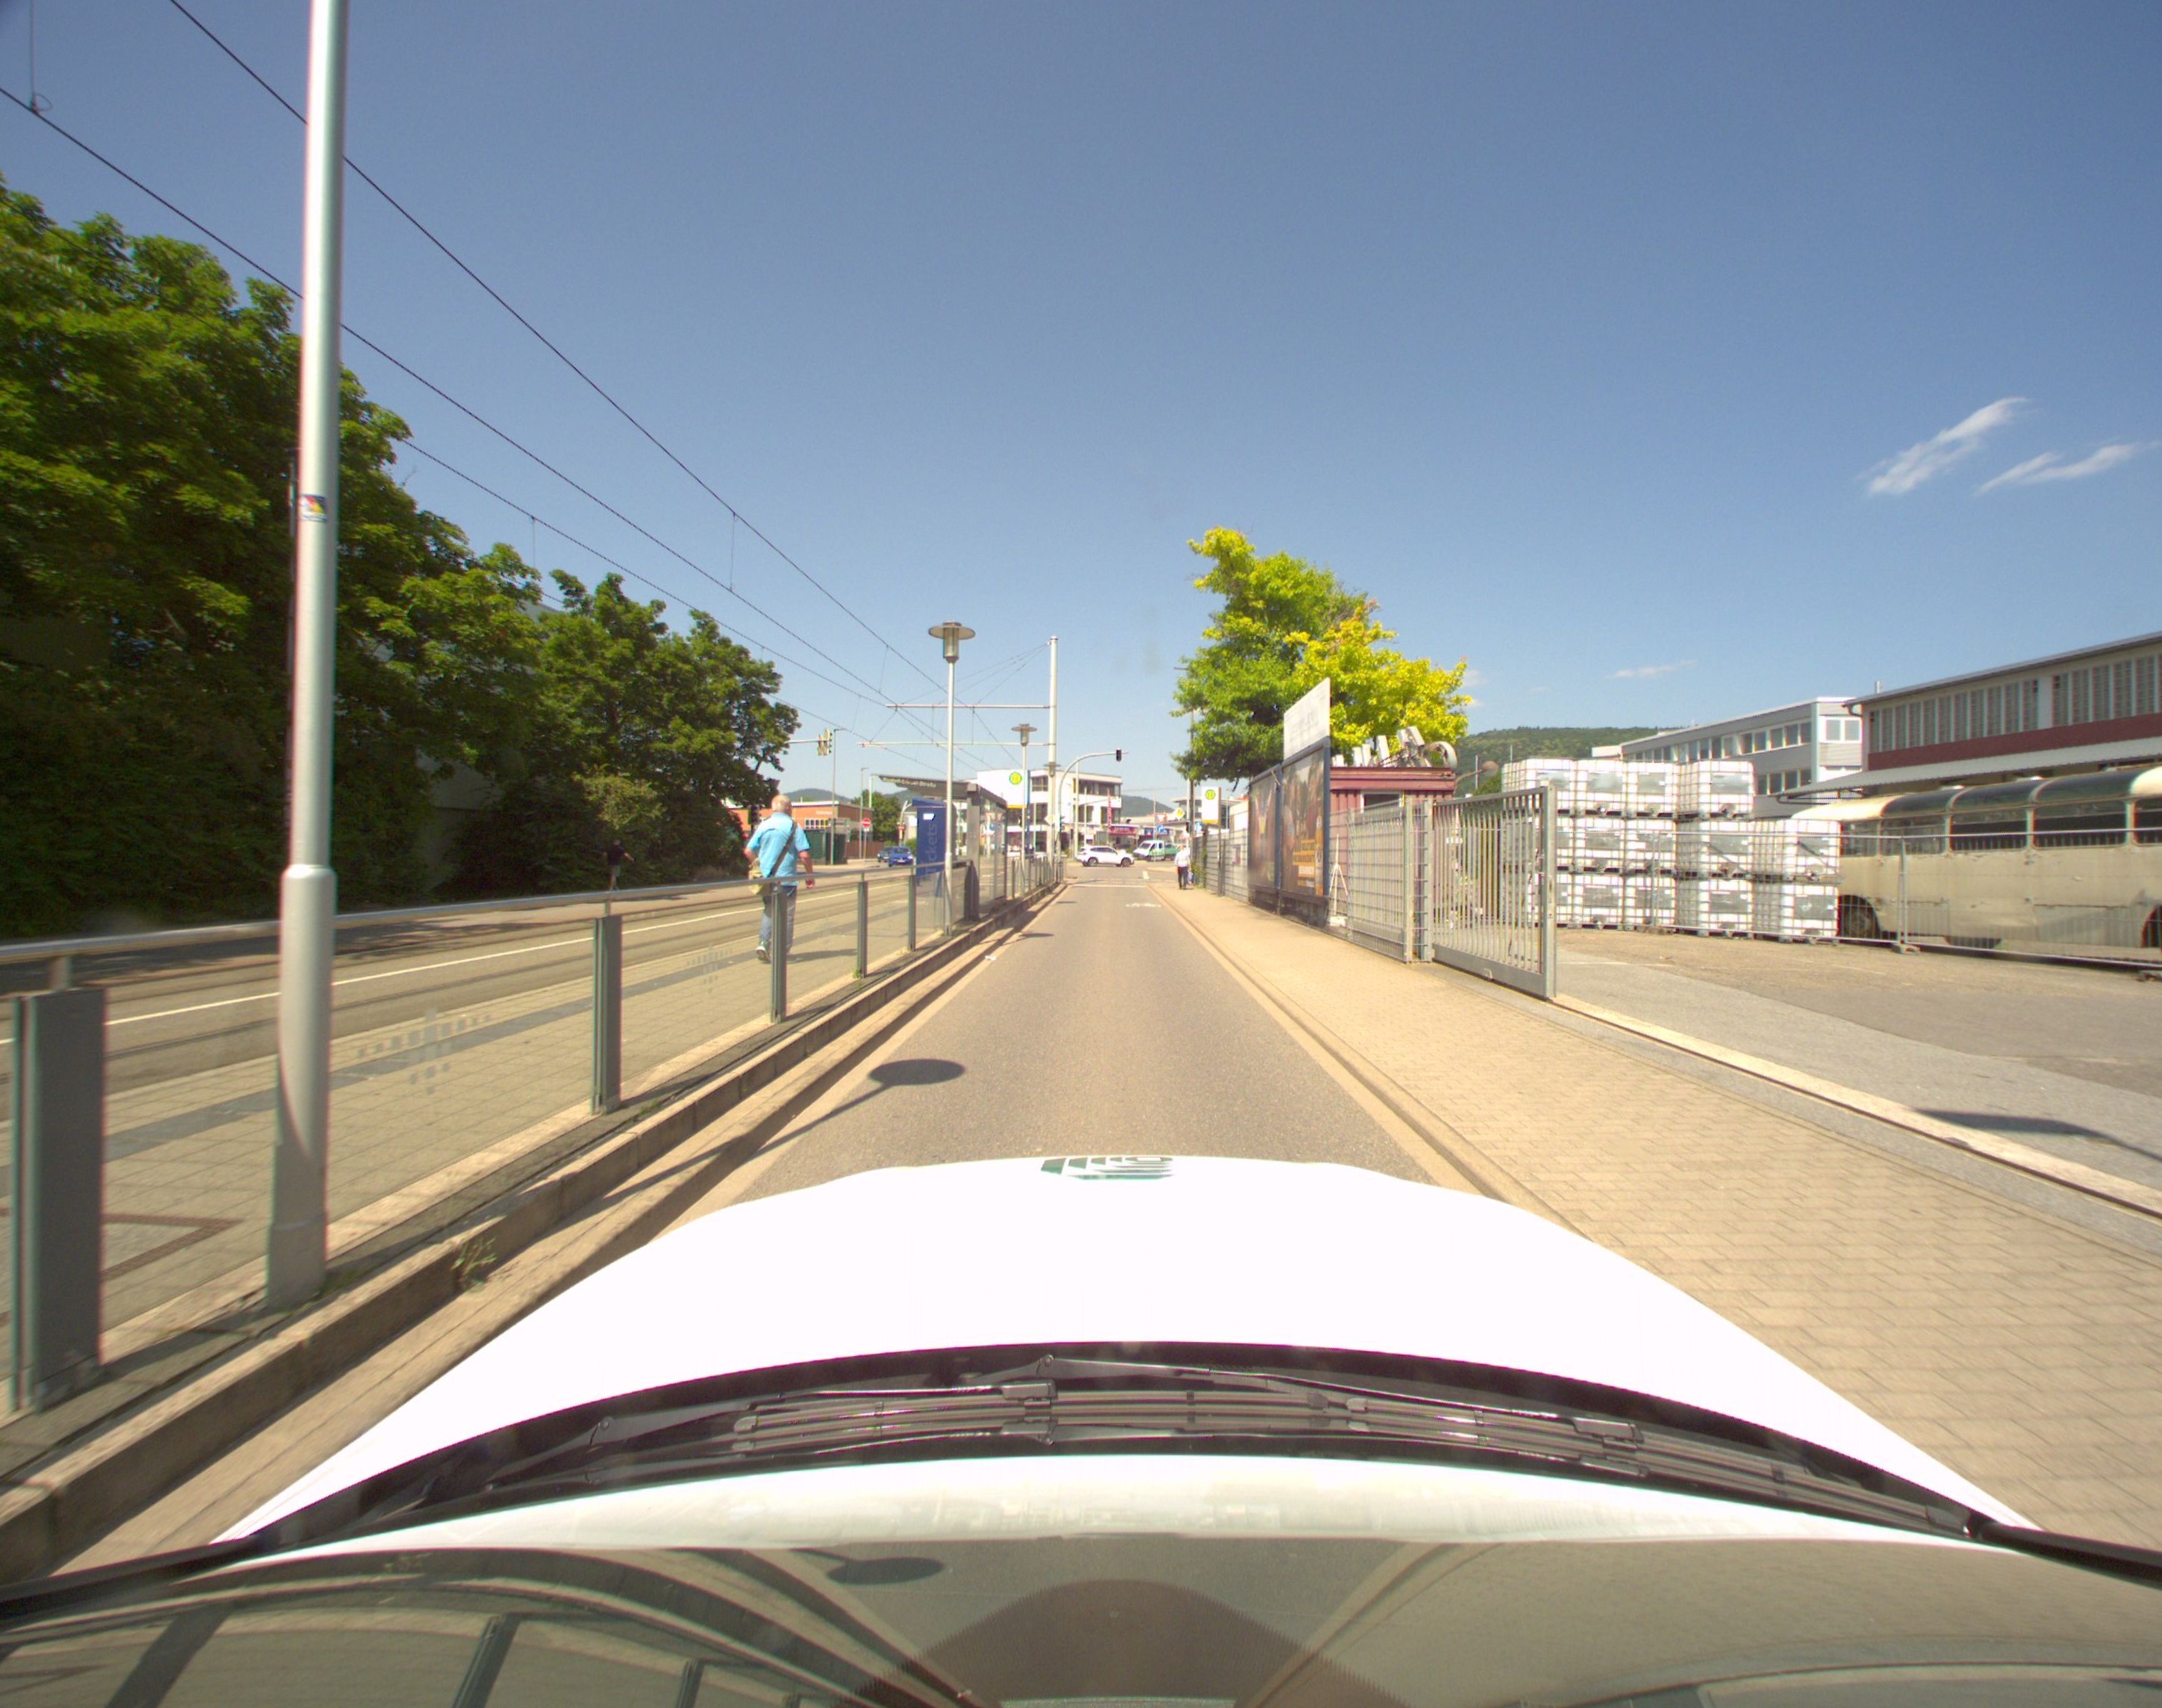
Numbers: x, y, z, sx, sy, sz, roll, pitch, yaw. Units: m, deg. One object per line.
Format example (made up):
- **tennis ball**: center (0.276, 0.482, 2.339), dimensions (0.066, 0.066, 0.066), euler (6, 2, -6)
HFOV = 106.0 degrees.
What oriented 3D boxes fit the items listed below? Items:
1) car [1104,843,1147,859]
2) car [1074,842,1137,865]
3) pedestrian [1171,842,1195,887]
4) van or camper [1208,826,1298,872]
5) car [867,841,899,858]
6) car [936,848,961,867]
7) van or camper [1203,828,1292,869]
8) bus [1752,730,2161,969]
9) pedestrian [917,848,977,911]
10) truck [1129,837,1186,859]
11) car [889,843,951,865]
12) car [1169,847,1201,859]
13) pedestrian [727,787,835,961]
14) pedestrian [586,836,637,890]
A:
- **car**: center (5.480, -0.356, 99.952), dimensions (5.308, 1.965, 1.943), euler (0, 0, -41)
- **car**: center (1.878, -0.006, 63.368), dimensions (4.555, 1.733, 1.991), euler (0, 0, -14)
- **pedestrian**: center (3.856, 0.400, 30.966), dimensions (0.810, 1.699, 0.887), euler (0, 0, 0)
- **van or camper**: center (11.150, -0.342, 53.137), dimensions (5.478, 2.813, 2.052), euler (1, 2, 6)
- **car**: center (-17.769, -0.402, 72.779), dimensions (1.916, 1.442, 4.557), euler (0, 1, -25)
- **car**: center (-14.354, 0.416, 88.430), dimensions (2.157, 2.014, 5.012), euler (1, -1, -3)
- **van or camper**: center (11.362, -0.411, 55.988), dimensions (5.783, 2.773, 2.094), euler (0, 1, 4)
- **bus**: center (15.705, 0.007, 12.651), dimensions (2.555, 3.172, 10.275), euler (1, -2, 3)
- **pedestrian**: center (-2.459, 0.451, 15.016), dimensions (0.939, 1.099, 0.726), euler (2, 1, 1)
- **truck**: center (8.596, -0.605, 91.126), dimensions (6.413, 2.337, 2.187), euler (1, 0, -33)
- **car**: center (-11.436, 0.002, 57.745), dimensions (4.158, 1.537, 1.796), euler (1, 0, -17)
- **car**: center (14.879, -0.132, 116.118), dimensions (1.863, 1.589, 4.956), euler (-2, -2, 45)
- **pedestrian**: center (-3.145, 0.192, 8.616), dimensions (0.721, 1.724, 0.945), euler (2, 1, 2)
- **pedestrian**: center (-14.710, 0.267, 25.536), dimensions (0.882, 1.670, 1.160), euler (0, 0, 1)
